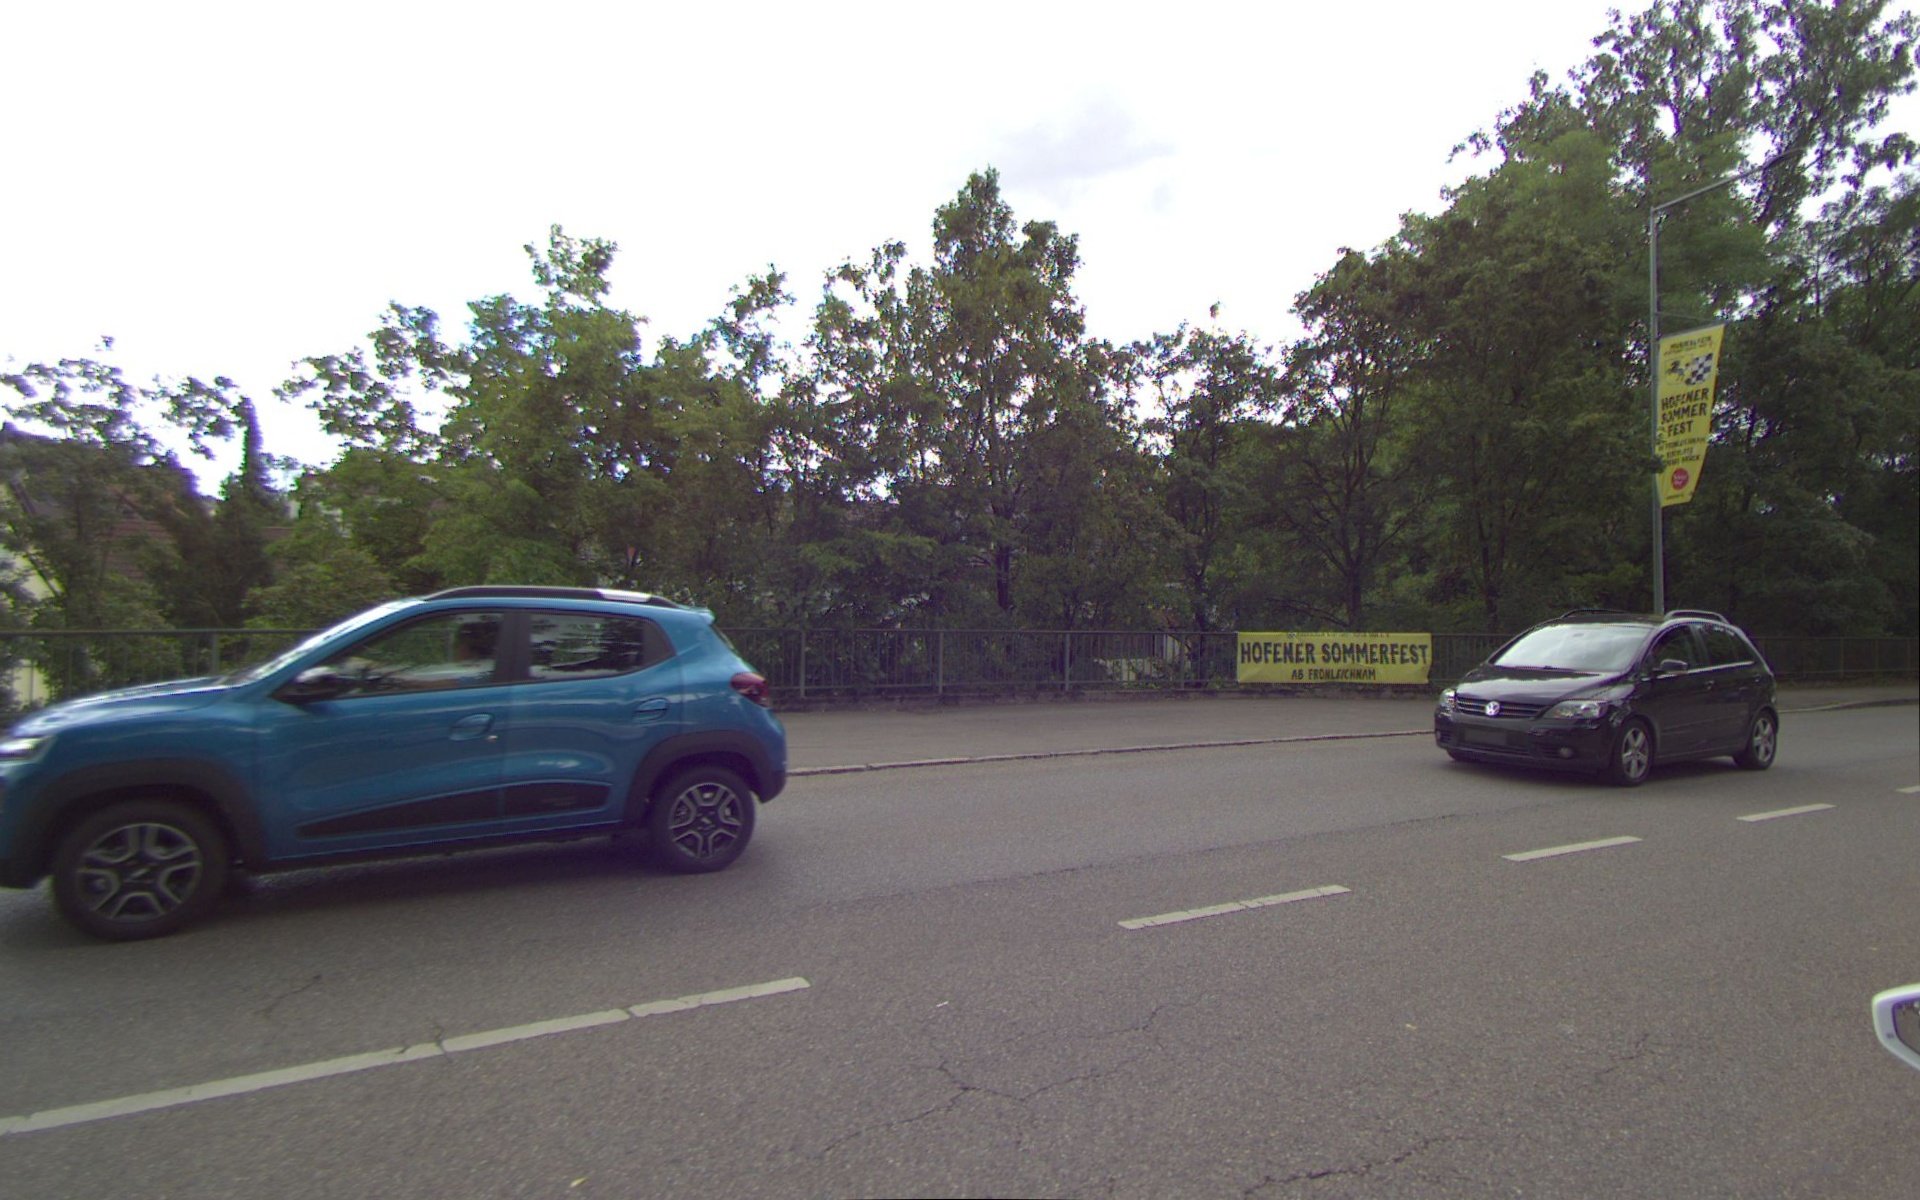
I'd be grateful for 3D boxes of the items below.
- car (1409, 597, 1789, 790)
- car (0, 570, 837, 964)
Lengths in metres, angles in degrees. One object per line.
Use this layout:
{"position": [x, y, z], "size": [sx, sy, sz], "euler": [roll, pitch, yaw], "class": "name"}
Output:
{"position": [6.575, 0.838, 10.240], "size": [3.968, 1.628, 1.711], "euler": [2, -1, -31], "class": "car"}
{"position": [-2.659, 0.671, 5.375], "size": [3.654, 1.505, 1.572], "euler": [1, 0, -32], "class": "car"}
